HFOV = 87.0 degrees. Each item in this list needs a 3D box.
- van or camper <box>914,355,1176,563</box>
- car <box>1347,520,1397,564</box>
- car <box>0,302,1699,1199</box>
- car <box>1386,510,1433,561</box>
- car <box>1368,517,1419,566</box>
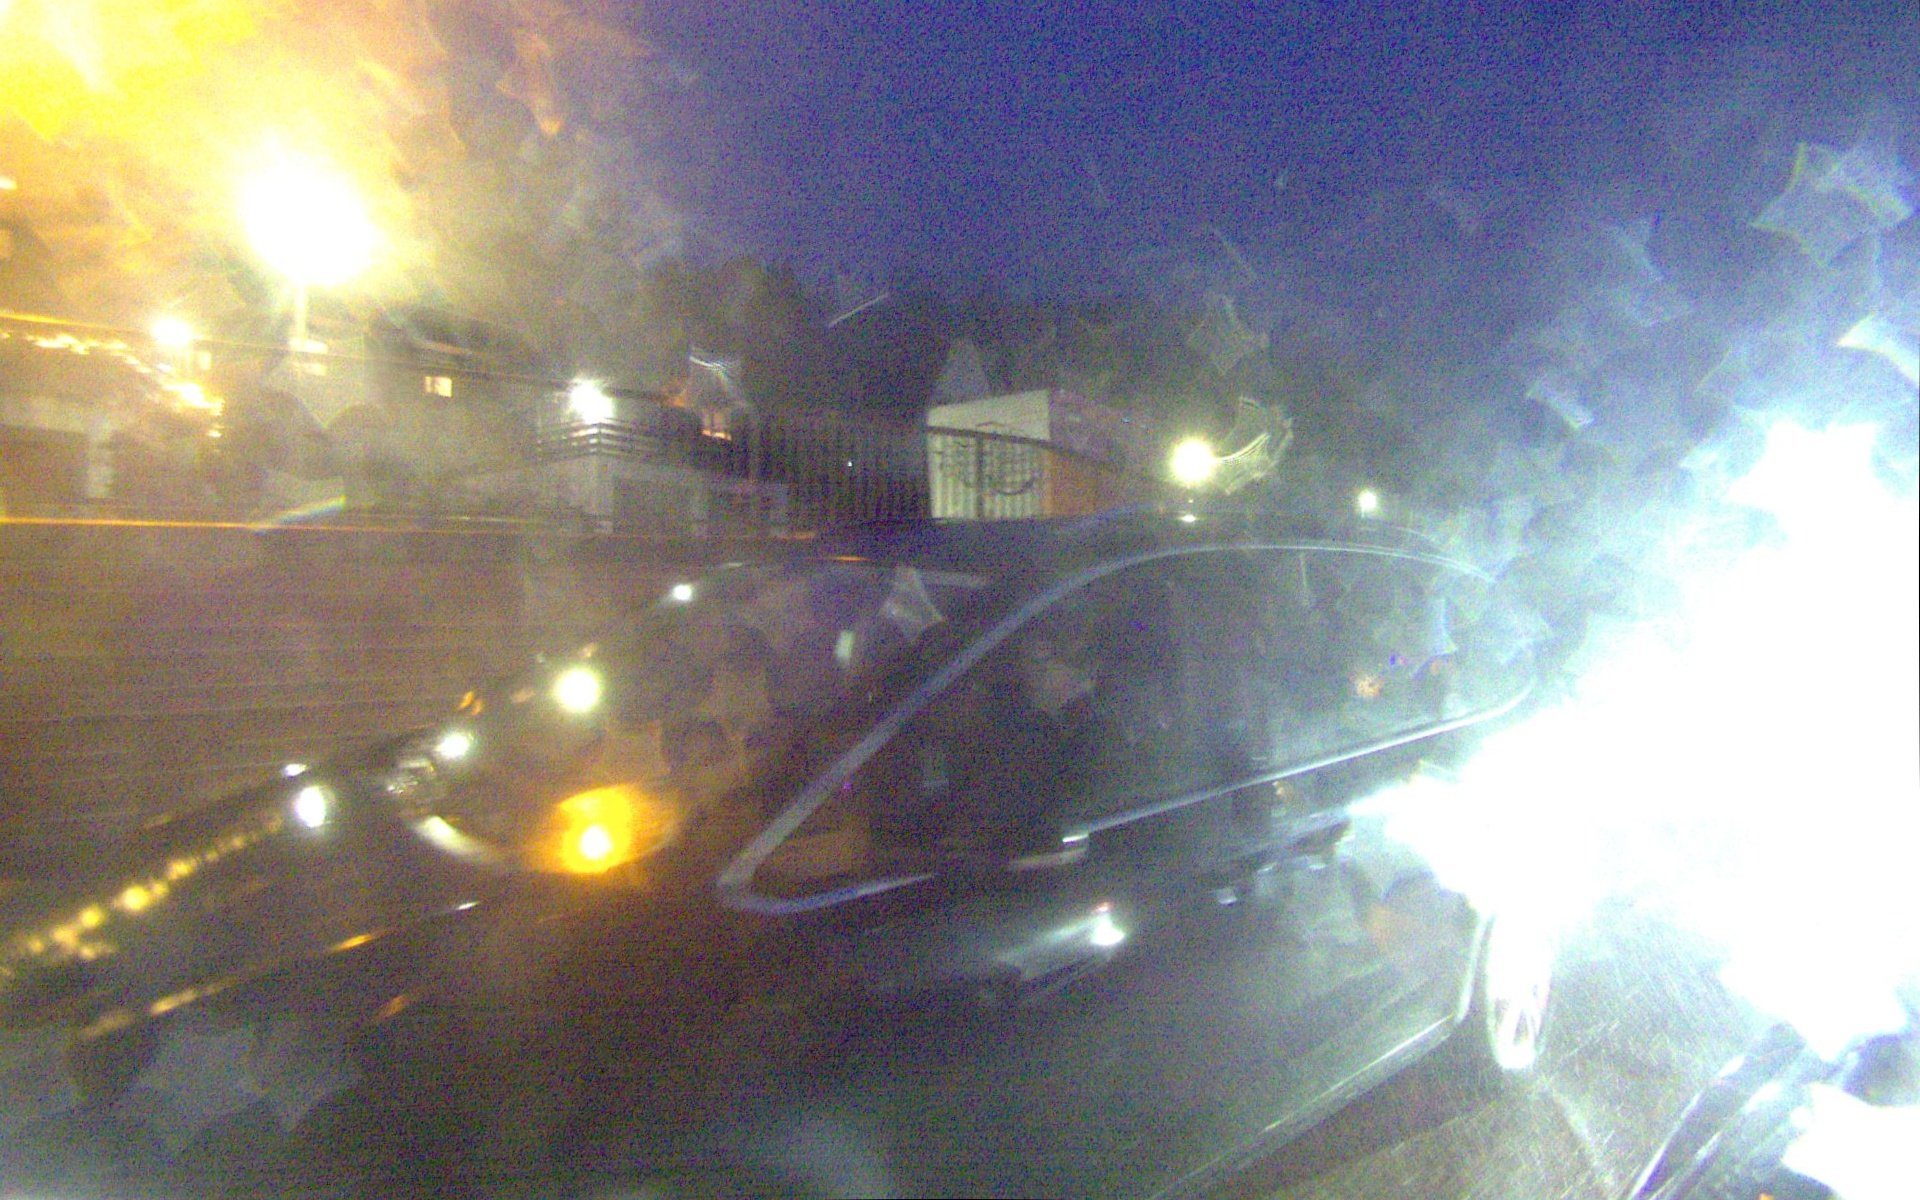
[{"bbox_3d":[1.729,-2.149,17.703,2.394,2.828,5.712,-1,0,30],"label":"van or camper"},{"bbox_3d":[20.853,-2.891,51.183,1.721,2.039,3.658,-1,0,32],"label":"car"},{"bbox_3d":[0.086,0.576,2.809,4.850,1.757,1.840,-1,0,-37],"label":"car"},{"bbox_3d":[26.763,-3.771,60.215,1.922,2.809,4.206,-1,0,32],"label":"car"},{"bbox_3d":[23.869,-3.172,55.699,1.922,2.451,4.206,-1,0,32],"label":"car"}]
